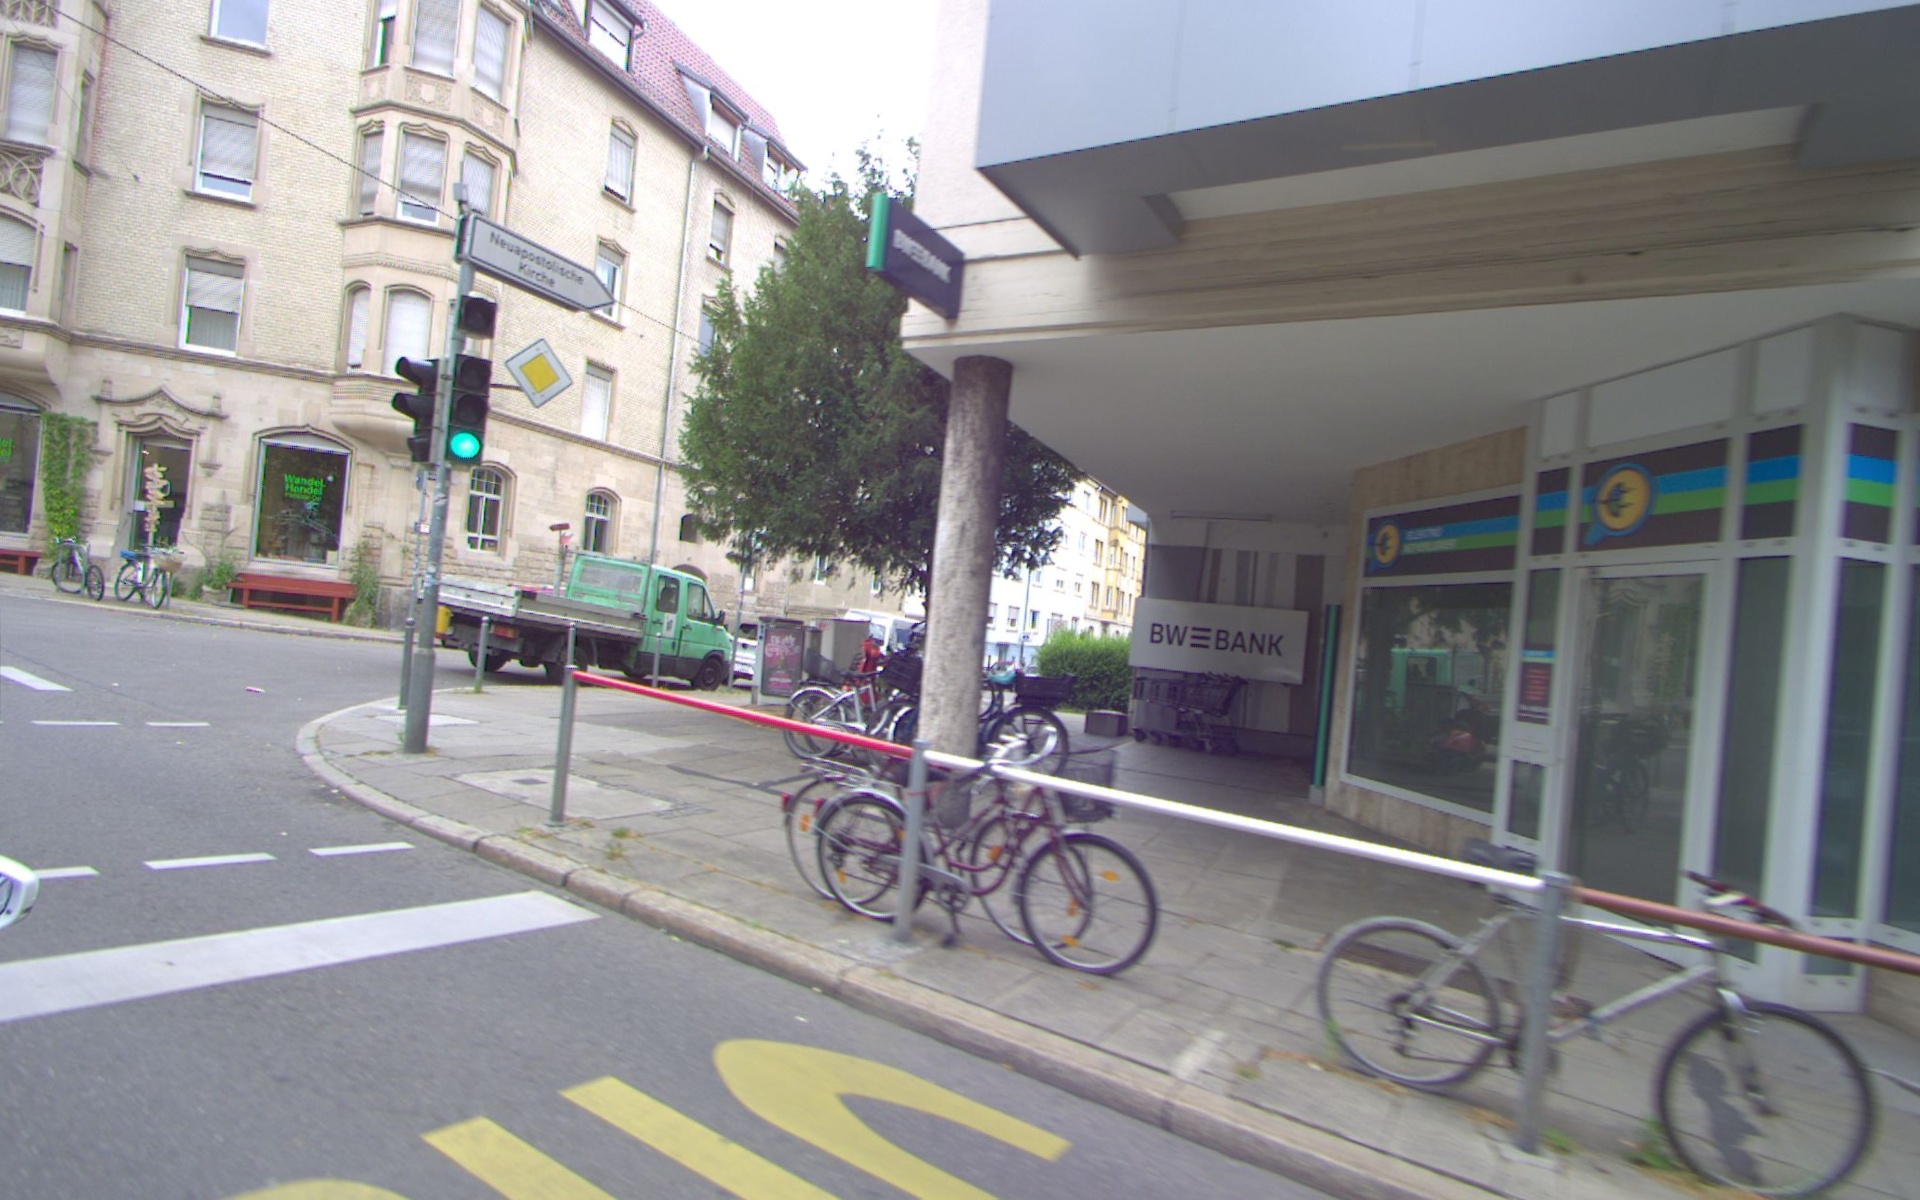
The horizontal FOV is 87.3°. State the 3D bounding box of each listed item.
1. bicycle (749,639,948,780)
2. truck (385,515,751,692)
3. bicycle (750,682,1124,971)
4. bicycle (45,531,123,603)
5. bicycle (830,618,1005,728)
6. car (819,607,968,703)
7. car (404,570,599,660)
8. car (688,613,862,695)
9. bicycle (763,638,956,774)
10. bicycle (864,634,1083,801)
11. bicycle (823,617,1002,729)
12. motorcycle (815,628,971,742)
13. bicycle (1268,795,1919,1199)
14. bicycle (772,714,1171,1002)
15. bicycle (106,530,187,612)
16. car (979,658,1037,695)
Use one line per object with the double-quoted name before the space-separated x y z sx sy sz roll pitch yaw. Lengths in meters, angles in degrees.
"bicycle" -1.043 0.998 9.382 1.727 1.055 0.319 7 -1 14
"truck" -6.206 0.247 16.941 2.338 2.156 5.584 7 -3 22
"bicycle" -0.138 1.049 4.928 1.728 1.067 0.287 7 -1 19
"bicycle" -15.583 -0.593 17.887 1.803 1.070 0.350 7 -2 30
"bicycle" -0.591 0.984 13.771 2.283 1.201 0.278 7 0 13
"car" -1.667 1.556 27.120 1.849 2.150 4.479 6 -3 25
"car" -9.905 0.386 21.989 1.832 1.499 3.372 6 -3 25
"car" -4.018 1.264 22.478 1.814 1.423 3.825 6 -3 25
"bicycle" -0.972 1.001 9.688 1.727 1.055 0.319 7 -1 14
"bicycle" 0.115 1.006 8.707 1.728 1.213 0.319 7 -1 0
"bicycle" -0.648 0.967 13.503 2.283 1.201 0.278 7 0 13
"motorcycle" -0.827 1.001 12.144 1.772 1.119 0.570 6 -1 32
"bicycle" 2.037 1.312 3.380 1.745 0.942 0.570 6 -1 32
"bicycle" 0.024 1.121 4.607 1.728 0.942 0.287 7 -1 19
"bicycle" -14.871 -0.538 18.367 1.803 1.177 0.447 13 4 30
"car" 2.544 3.954 52.115 1.780 1.604 4.946 7 -2 16
